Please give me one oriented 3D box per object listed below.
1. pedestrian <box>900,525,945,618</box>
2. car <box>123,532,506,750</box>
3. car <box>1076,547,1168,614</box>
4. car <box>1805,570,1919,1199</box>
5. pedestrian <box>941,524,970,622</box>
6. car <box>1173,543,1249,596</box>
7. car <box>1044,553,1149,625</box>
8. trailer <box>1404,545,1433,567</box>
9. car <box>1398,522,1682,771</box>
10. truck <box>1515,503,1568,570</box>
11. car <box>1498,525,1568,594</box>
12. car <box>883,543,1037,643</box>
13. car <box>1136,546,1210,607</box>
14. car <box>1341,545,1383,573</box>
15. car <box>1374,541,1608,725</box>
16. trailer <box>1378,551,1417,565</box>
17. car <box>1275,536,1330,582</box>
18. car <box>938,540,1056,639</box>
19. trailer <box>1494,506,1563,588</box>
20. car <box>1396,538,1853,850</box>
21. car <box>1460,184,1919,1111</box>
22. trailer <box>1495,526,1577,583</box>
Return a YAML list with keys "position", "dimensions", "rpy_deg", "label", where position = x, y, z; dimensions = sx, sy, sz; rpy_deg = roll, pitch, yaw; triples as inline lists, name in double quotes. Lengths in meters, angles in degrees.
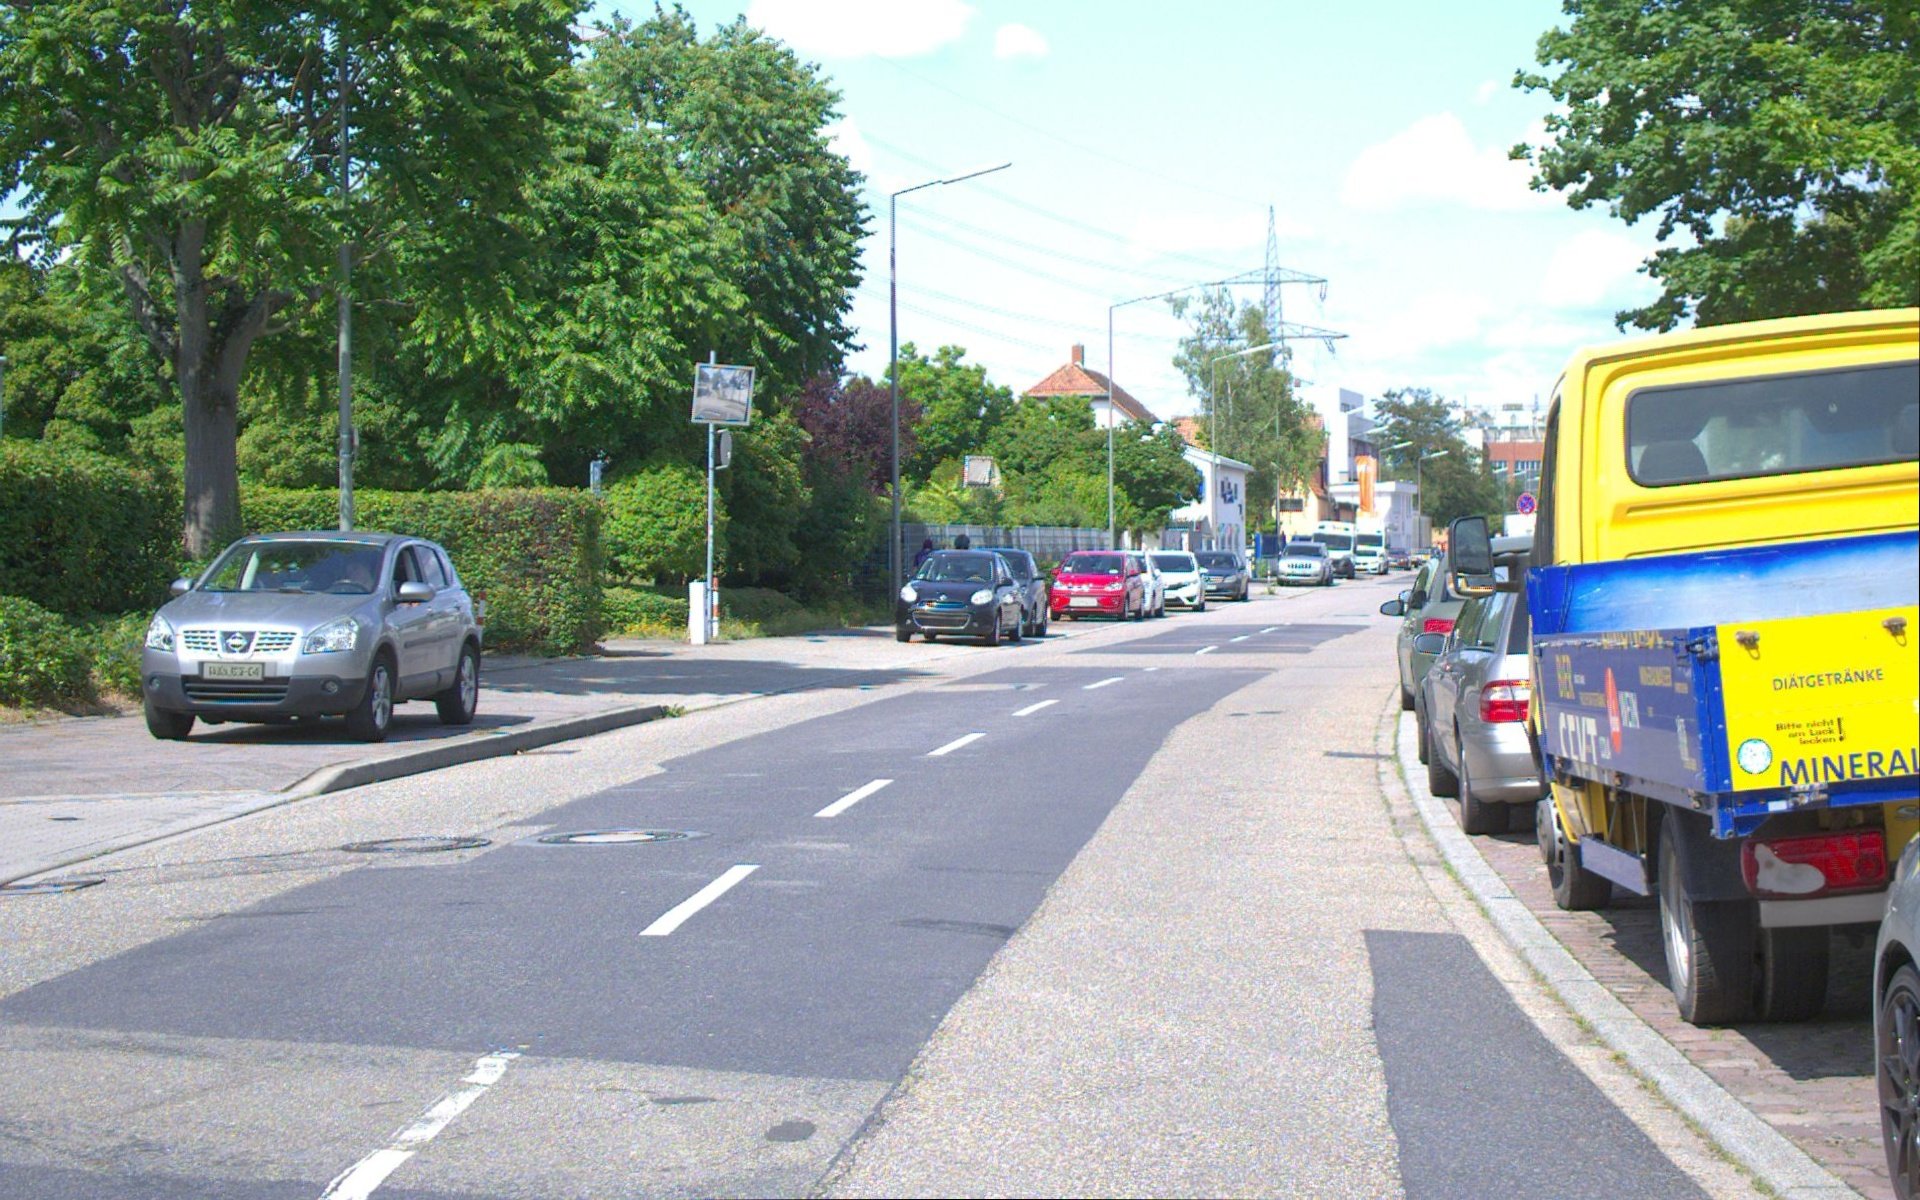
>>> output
- position: [-0.722, -0.554, 66.661]
  dimensions: [0.708, 1.795, 0.915]
  rpy_deg: [0, 0, 10]
  label: "pedestrian"
- position: [-5.004, 0.278, 27.274]
  dimensions: [1.758, 1.568, 4.476]
  rpy_deg: [1, 1, 6]
  label: "car"
- position: [3.688, -0.440, 77.874]
  dimensions: [1.645, 1.472, 4.027]
  rpy_deg: [0, 0, 9]
  label: "car"
- position: [2.832, 0.676, 6.302]
  dimensions: [1.685, 1.489, 3.948]
  rpy_deg: [-2, 0, 2]
  label: "car"
- position: [-0.094, -0.528, 66.866]
  dimensions: [0.451, 1.887, 0.677]
  rpy_deg: [0, 0, 10]
  label: "pedestrian"
- position: [7.204, -0.886, 98.346]
  dimensions: [1.806, 1.414, 4.495]
  rpy_deg: [2, 1, 9]
  label: "car"
- position: [2.931, -0.243, 73.210]
  dimensions: [1.667, 1.462, 3.742]
  rpy_deg: [1, 1, 11]
  label: "car"
- position: [33.953, -3.254, 254.467]
  dimensions: [1.994, 1.551, 4.252]
  rpy_deg: [0, 1, 10]
  label: "trailer"
- position: [4.293, 0.295, 25.967]
  dimensions: [1.833, 1.602, 4.567]
  rpy_deg: [-4, 0, 8]
  label: "car"
- position: [31.177, -3.370, 184.159]
  dimensions: [2.459, 3.282, 6.814]
  rpy_deg: [-5, 0, 10]
  label: "truck"
- position: [17.321, -1.224, 103.869]
  dimensions: [1.994, 2.007, 5.647]
  rpy_deg: [-1, 1, 10]
  label: "car"
- position: [0.039, -0.137, 56.589]
  dimensions: [1.846, 1.503, 3.998]
  rpy_deg: [3, 1, 10]
  label: "car"
- position: [5.407, -0.608, 86.824]
  dimensions: [1.620, 1.517, 4.174]
  rpy_deg: [0, 1, 7]
  label: "car"
- position: [20.706, -2.097, 176.973]
  dimensions: [1.797, 1.392, 4.499]
  rpy_deg: [1, 1, 11]
  label: "car"
- position: [4.804, 0.273, 31.565]
  dimensions: [1.700, 1.481, 3.807]
  rpy_deg: [-4, 0, 4]
  label: "car"
- position: [29.770, -2.843, 233.871]
  dimensions: [2.363, 0.890, 5.567]
  rpy_deg: [2, 1, 10]
  label: "trailer"
- position: [13.489, -1.610, 135.249]
  dimensions: [1.791, 1.713, 4.749]
  rpy_deg: [2, 1, 10]
  label: "car"
- position: [0.688, -0.203, 61.307]
  dimensions: [1.651, 1.639, 3.272]
  rpy_deg: [3, 1, 8]
  label: "car"
- position: [20.283, -1.848, 122.710]
  dimensions: [2.205, 2.728, 6.219]
  rpy_deg: [-3, 0, 9]
  label: "trailer"
- position: [3.654, 0.449, 19.805]
  dimensions: [1.875, 1.472, 5.167]
  rpy_deg: [-3, 0, 4]
  label: "car"
- position: [3.196, 0.080, 12.437]
  dimensions: [2.157, 2.456, 6.639]
  rpy_deg: [-2, 0, 4]
  label: "car"
- position: [15.654, -1.212, 93.635]
  dimensions: [1.749, 1.412, 4.549]
  rpy_deg: [-3, 0, 5]
  label: "trailer"
